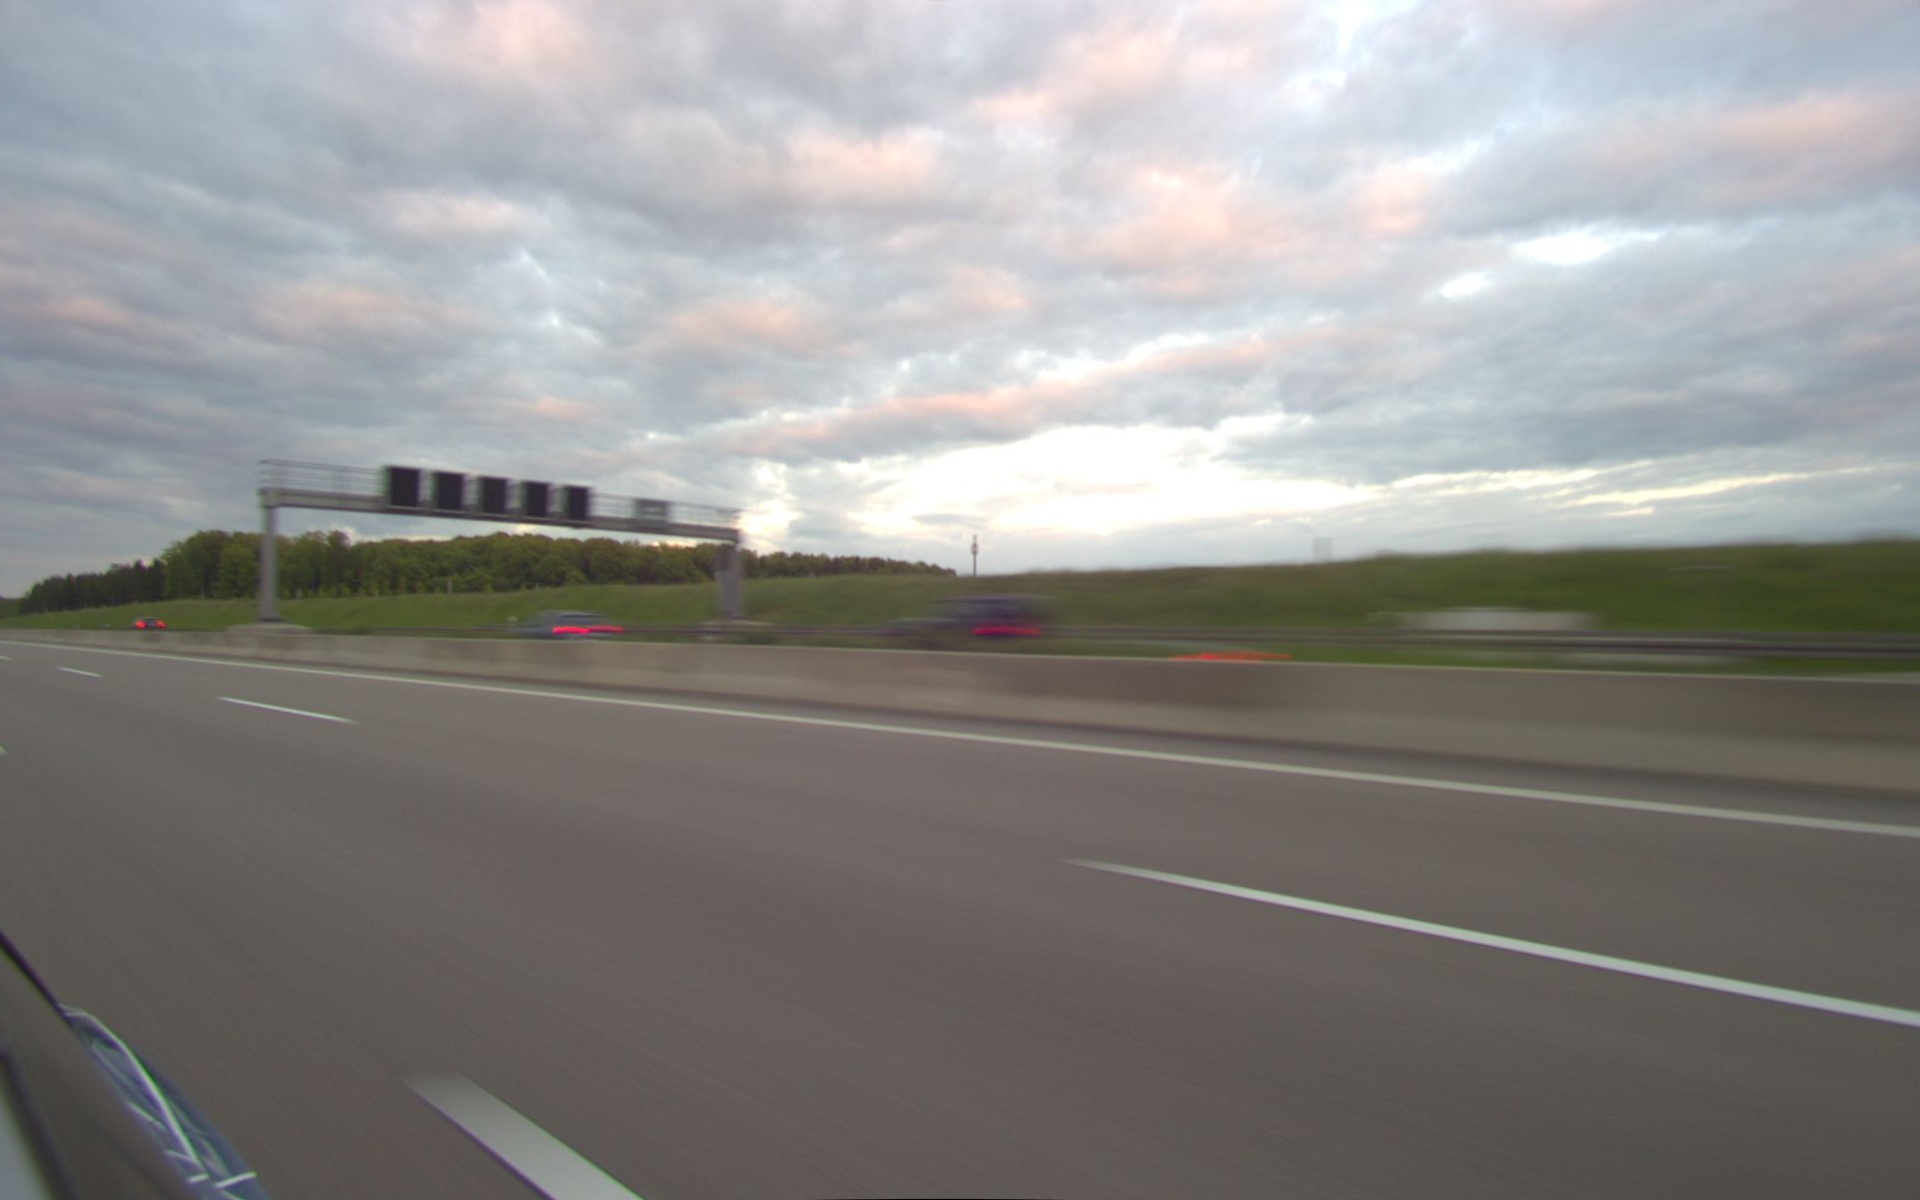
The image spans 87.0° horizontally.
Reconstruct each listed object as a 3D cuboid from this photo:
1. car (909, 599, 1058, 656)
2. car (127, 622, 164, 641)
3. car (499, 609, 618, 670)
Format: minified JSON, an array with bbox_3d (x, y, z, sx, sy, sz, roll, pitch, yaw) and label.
[{"bbox_3d":[0.630,0.766,28.716,3.998,1.469,1.795,-1,0,41],"label":"car"},{"bbox_3d":[-80.358,3.082,99.846,5.085,1.841,1.973,-2,-1,41],"label":"car"},{"bbox_3d":[-14.612,1.377,36.697,4.901,2.029,1.973,-1,0,41],"label":"car"}]
